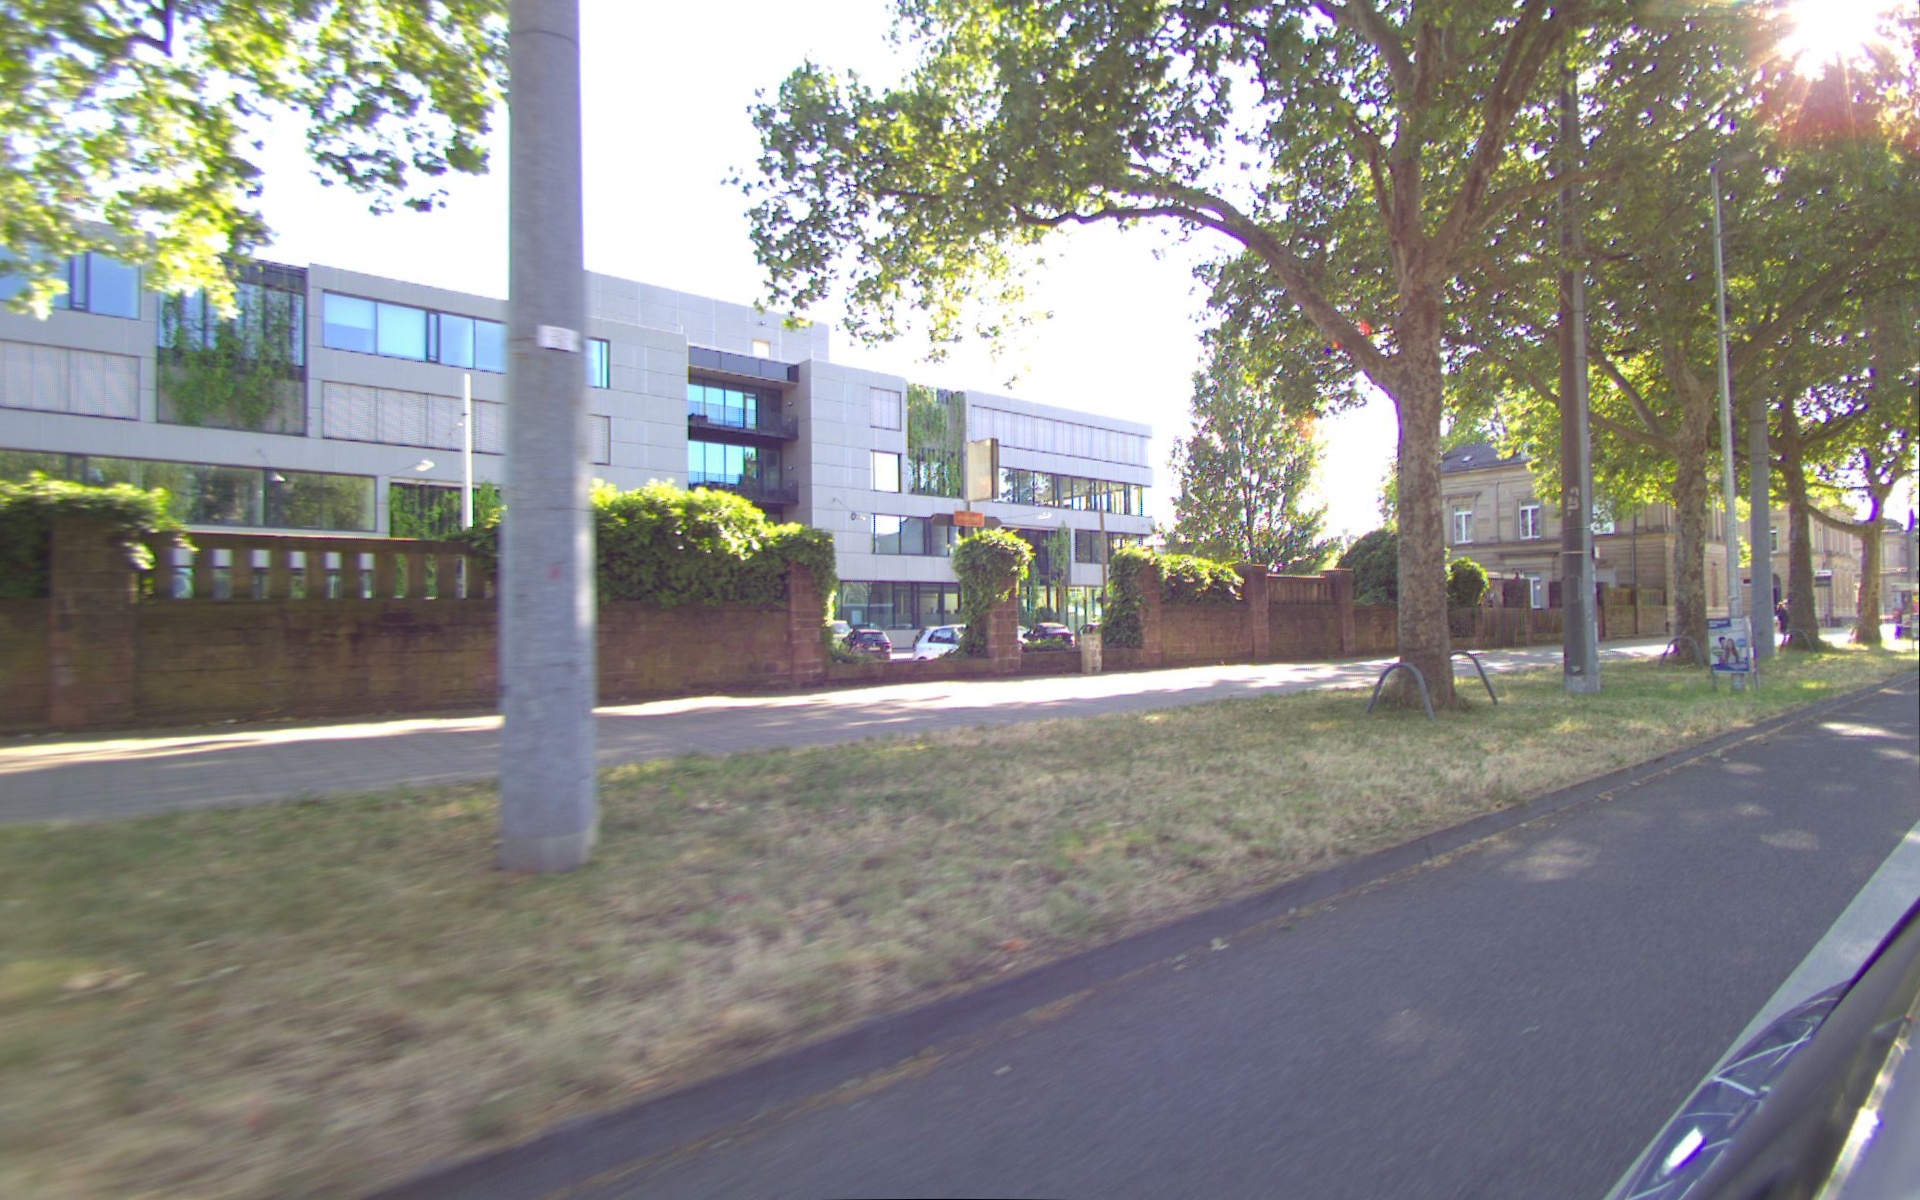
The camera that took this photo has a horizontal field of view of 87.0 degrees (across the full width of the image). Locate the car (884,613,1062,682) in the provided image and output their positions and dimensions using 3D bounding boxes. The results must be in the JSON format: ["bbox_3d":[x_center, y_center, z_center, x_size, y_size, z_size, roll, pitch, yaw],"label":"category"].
[{"bbox_3d":[0.278,1.139,25.083,4.099,1.541,2.011,-2,-2,41],"label":"car"}]

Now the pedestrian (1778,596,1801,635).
[{"bbox_3d":[37.862,0.712,46.175,0.769,1.767,0.784,0,-1,43],"label":"pedestrian"}]

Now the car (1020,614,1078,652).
[{"bbox_3d":[4.583,1.686,52.721,1.931,1.839,4.372,-1,-1,-10],"label":"car"}]

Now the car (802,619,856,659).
[{"bbox_3d":[-6.447,1.869,49.393,1.930,1.839,4.374,-1,-1,-17],"label":"car"}]

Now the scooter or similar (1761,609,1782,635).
[{"bbox_3d":[37.301,1.026,46.508,0.718,1.170,0.748,0,-1,43],"label":"scooter or similar"}]

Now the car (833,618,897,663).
[{"bbox_3d":[-4.260,1.743,44.649,1.930,1.839,4.374,0,-1,-18],"label":"car"}]
